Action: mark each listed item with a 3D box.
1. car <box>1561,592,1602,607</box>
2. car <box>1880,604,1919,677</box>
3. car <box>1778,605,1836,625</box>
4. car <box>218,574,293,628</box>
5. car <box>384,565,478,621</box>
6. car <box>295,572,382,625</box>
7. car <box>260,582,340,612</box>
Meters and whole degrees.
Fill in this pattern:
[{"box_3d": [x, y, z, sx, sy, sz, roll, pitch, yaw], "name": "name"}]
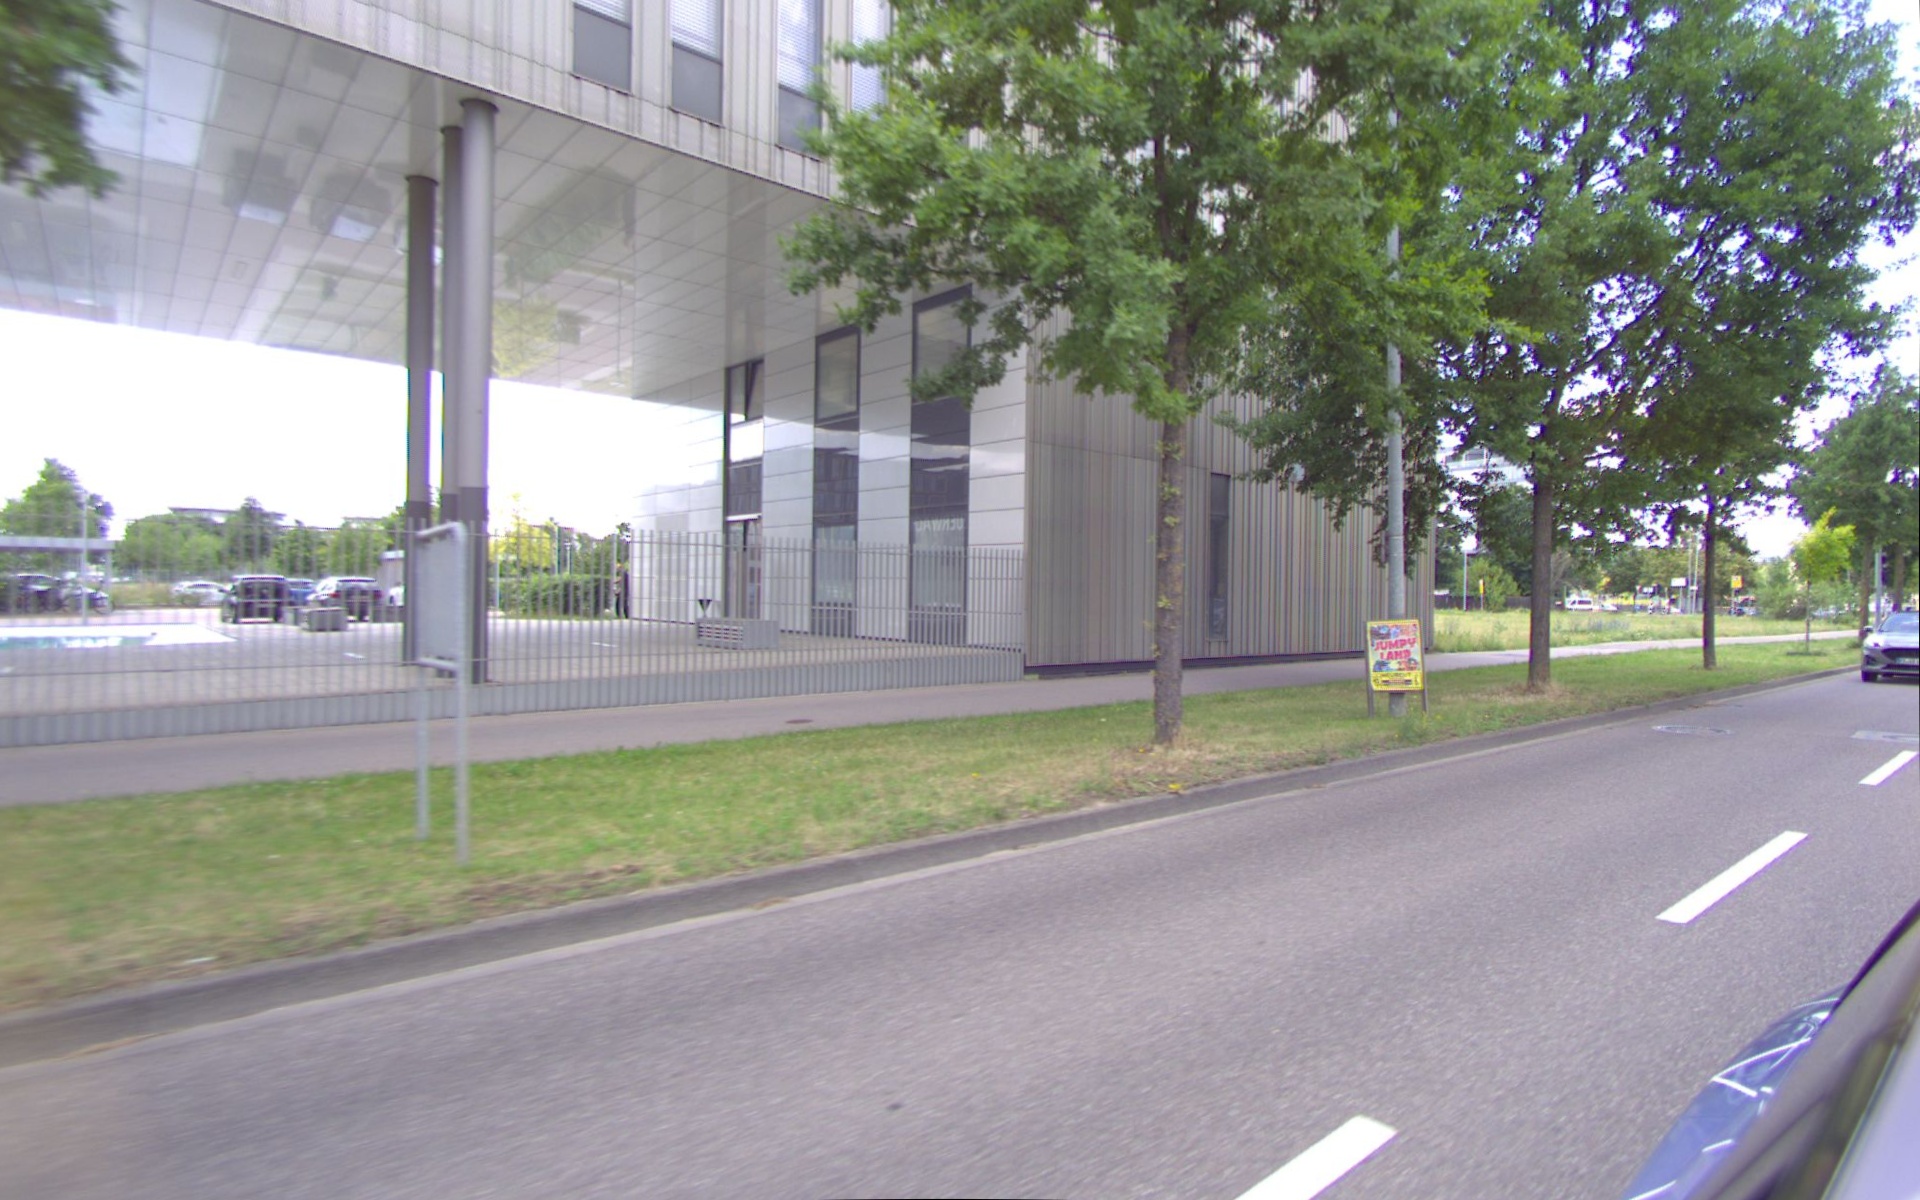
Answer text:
[{"box_3d": [90.953, -0.082, 148.163, 5.044, 2.175, 2.153, 0, 0, -11], "name": "car"}, {"box_3d": [21.252, 0.835, 21.910, 4.023, 1.490, 1.671, 0, 0, -43], "name": "car"}, {"box_3d": [90.143, 1.541, 107.770, 1.963, 1.695, 5.071, 2, 3, 2], "name": "car"}, {"box_3d": [-22.070, 0.032, 31.674, 1.640, 1.573, 3.311, -2, 0, -39], "name": "car"}, {"box_3d": [-18.444, -0.217, 35.203, 1.965, 1.825, 4.306, -2, 0, -41], "name": "car"}, {"box_3d": [-20.347, -0.044, 33.062, 1.839, 1.610, 3.665, -2, 0, -41], "name": "car"}, {"box_3d": [-37.384, -0.161, 57.357, 3.607, 1.610, 1.869, -2, 0, -40], "name": "car"}]
